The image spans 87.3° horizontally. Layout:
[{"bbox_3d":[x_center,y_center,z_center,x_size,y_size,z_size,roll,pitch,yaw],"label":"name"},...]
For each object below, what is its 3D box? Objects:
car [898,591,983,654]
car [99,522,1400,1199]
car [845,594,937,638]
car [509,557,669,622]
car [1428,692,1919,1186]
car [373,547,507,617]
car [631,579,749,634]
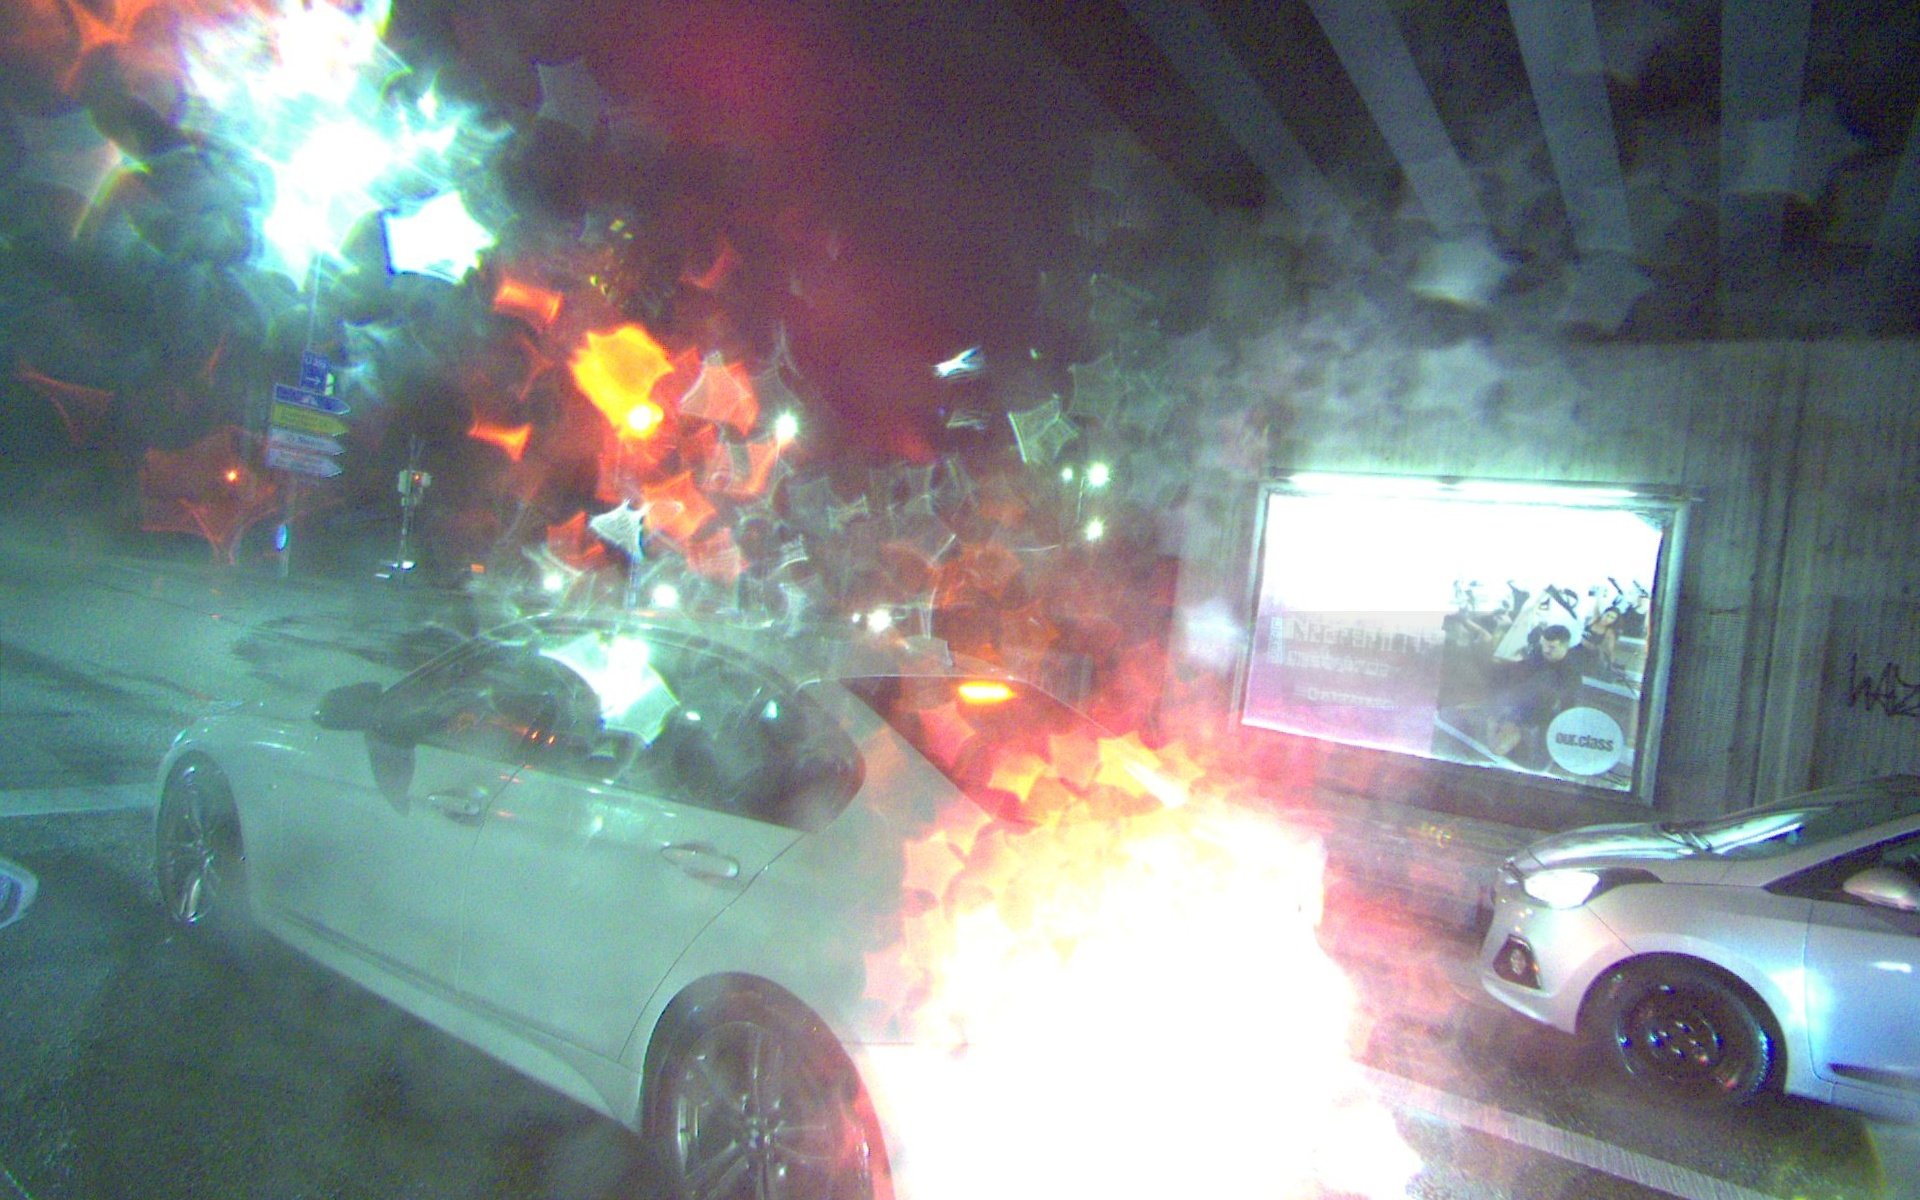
[{"bbox_3d":[-0.704,0.900,38.645,1.674,2.037,3.567,6,-2,25],"label":"car"},{"bbox_3d":[-0.972,0.679,3.506,4.309,1.465,1.722,6,0,31],"label":"car"},{"bbox_3d":[-3.274,0.790,48.399,1.827,1.609,4.335,6,-2,40],"label":"car"},{"bbox_3d":[-12.752,-0.322,34.834,1.826,1.609,4.850,6,-2,38],"label":"car"},{"bbox_3d":[4.245,1.397,3.972,4.092,1.465,1.722,6,0,31],"label":"car"},{"bbox_3d":[-17.266,-0.563,33.522,1.661,1.859,3.420,6,-2,35],"label":"car"},{"bbox_3d":[-11.252,0.298,42.126,1.955,1.775,4.338,6,-2,38],"label":"car"}]
